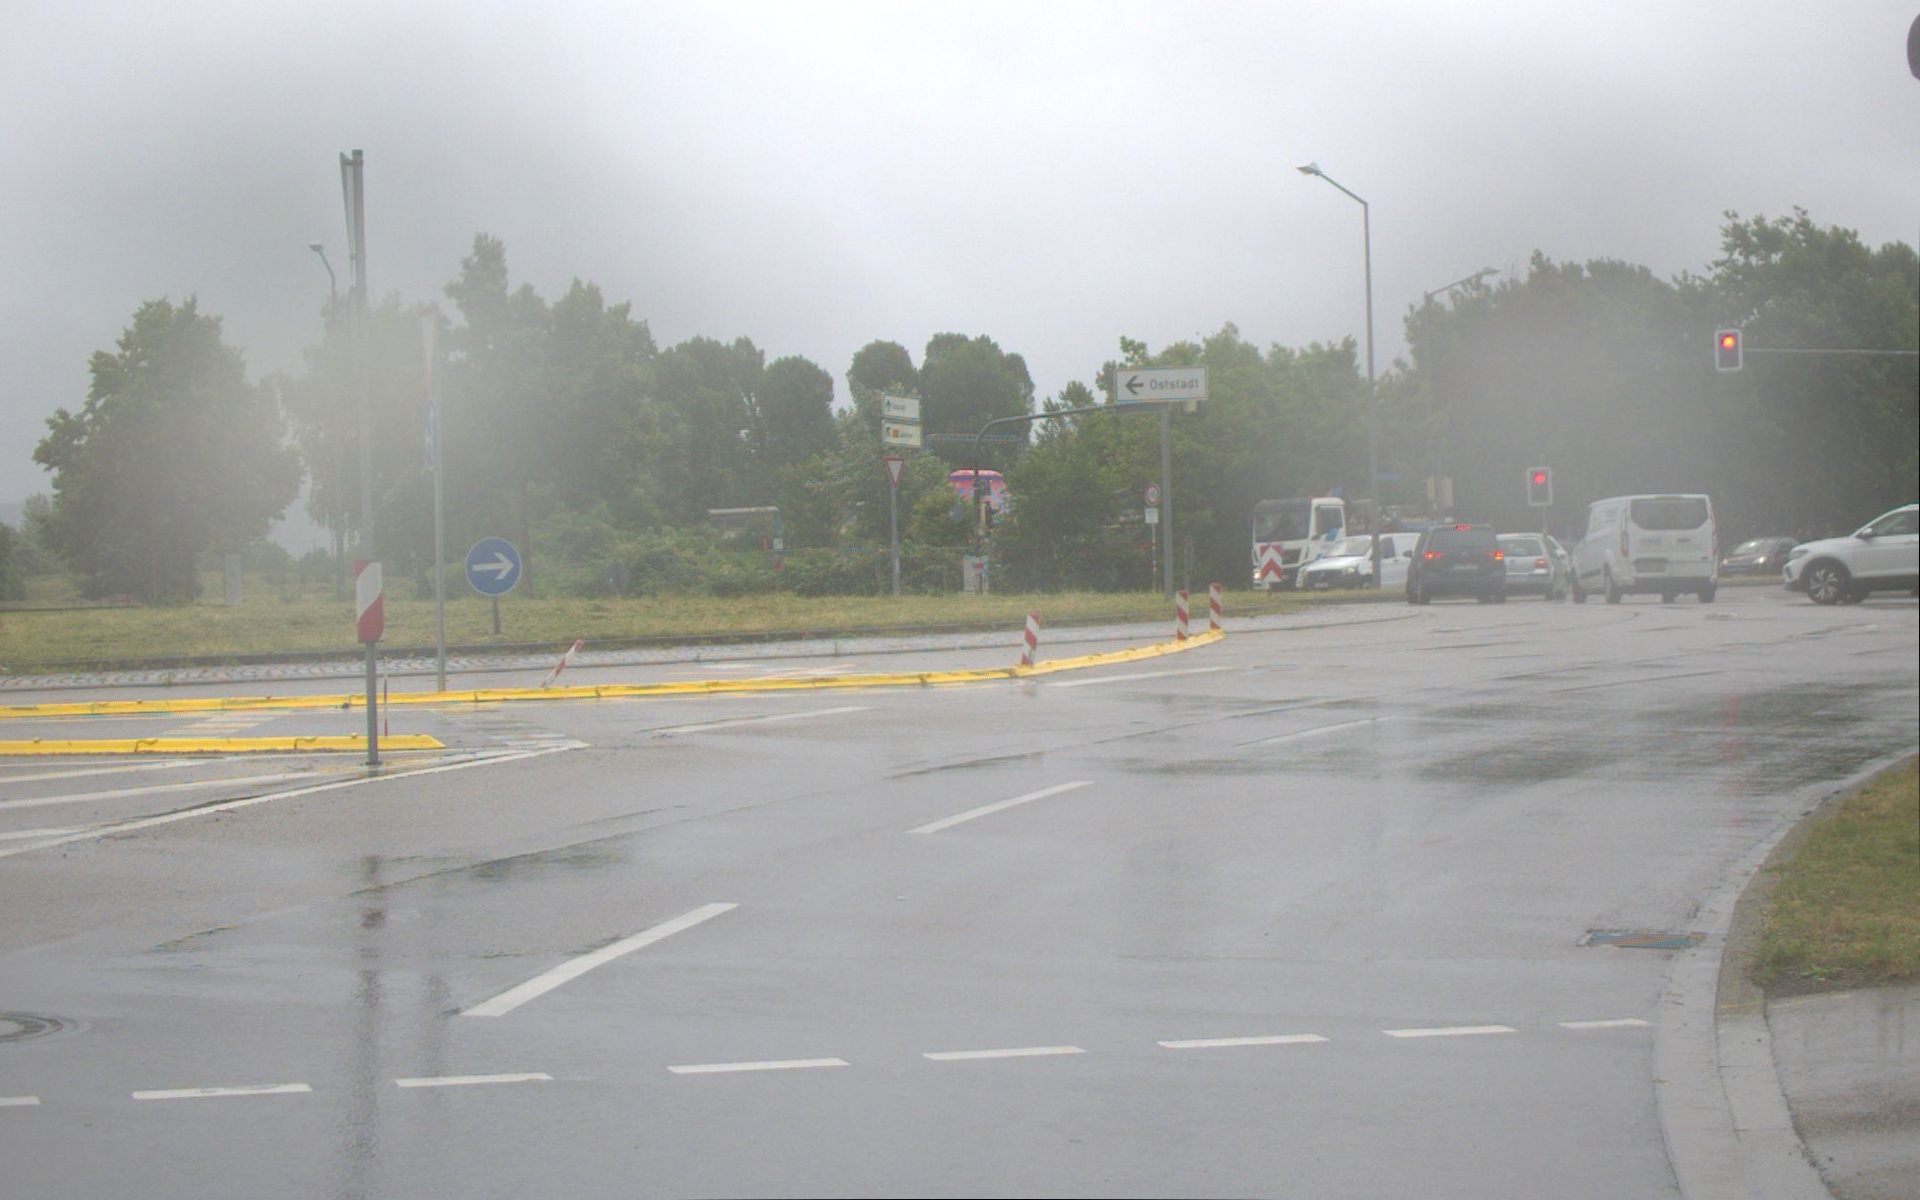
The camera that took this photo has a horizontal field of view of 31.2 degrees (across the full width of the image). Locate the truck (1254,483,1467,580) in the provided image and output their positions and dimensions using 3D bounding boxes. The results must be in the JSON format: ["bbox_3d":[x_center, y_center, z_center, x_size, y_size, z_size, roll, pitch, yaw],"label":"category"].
[{"bbox_3d":[11.872,-1.963,101.103,1.998,2.702,8.778,1,1,37],"label":"truck"}]

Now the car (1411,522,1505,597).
[{"bbox_3d":[10.206,-0.829,70.648,1.689,1.487,3.250,1,1,5],"label":"car"}]

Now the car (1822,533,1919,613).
[{"bbox_3d":[18.113,-0.555,68.081,1.689,1.487,3.250,-1,1,9],"label":"car"}]

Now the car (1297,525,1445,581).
[{"bbox_3d":[11.411,-1.289,95.300,1.610,1.487,4.537,1,1,45],"label":"car"}]

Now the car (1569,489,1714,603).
[{"bbox_3d":[12.693,-1.001,64.242,1.783,2.029,4.000,1,1,-2],"label":"car"}]

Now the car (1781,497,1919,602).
[{"bbox_3d":[15.303,-0.800,54.889,3.940,1.642,1.683,1,1,29],"label":"car"}]

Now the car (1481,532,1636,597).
[{"bbox_3d":[13.223,-0.780,75.920,3.122,1.367,1.391,1,1,-26],"label":"car"}]
